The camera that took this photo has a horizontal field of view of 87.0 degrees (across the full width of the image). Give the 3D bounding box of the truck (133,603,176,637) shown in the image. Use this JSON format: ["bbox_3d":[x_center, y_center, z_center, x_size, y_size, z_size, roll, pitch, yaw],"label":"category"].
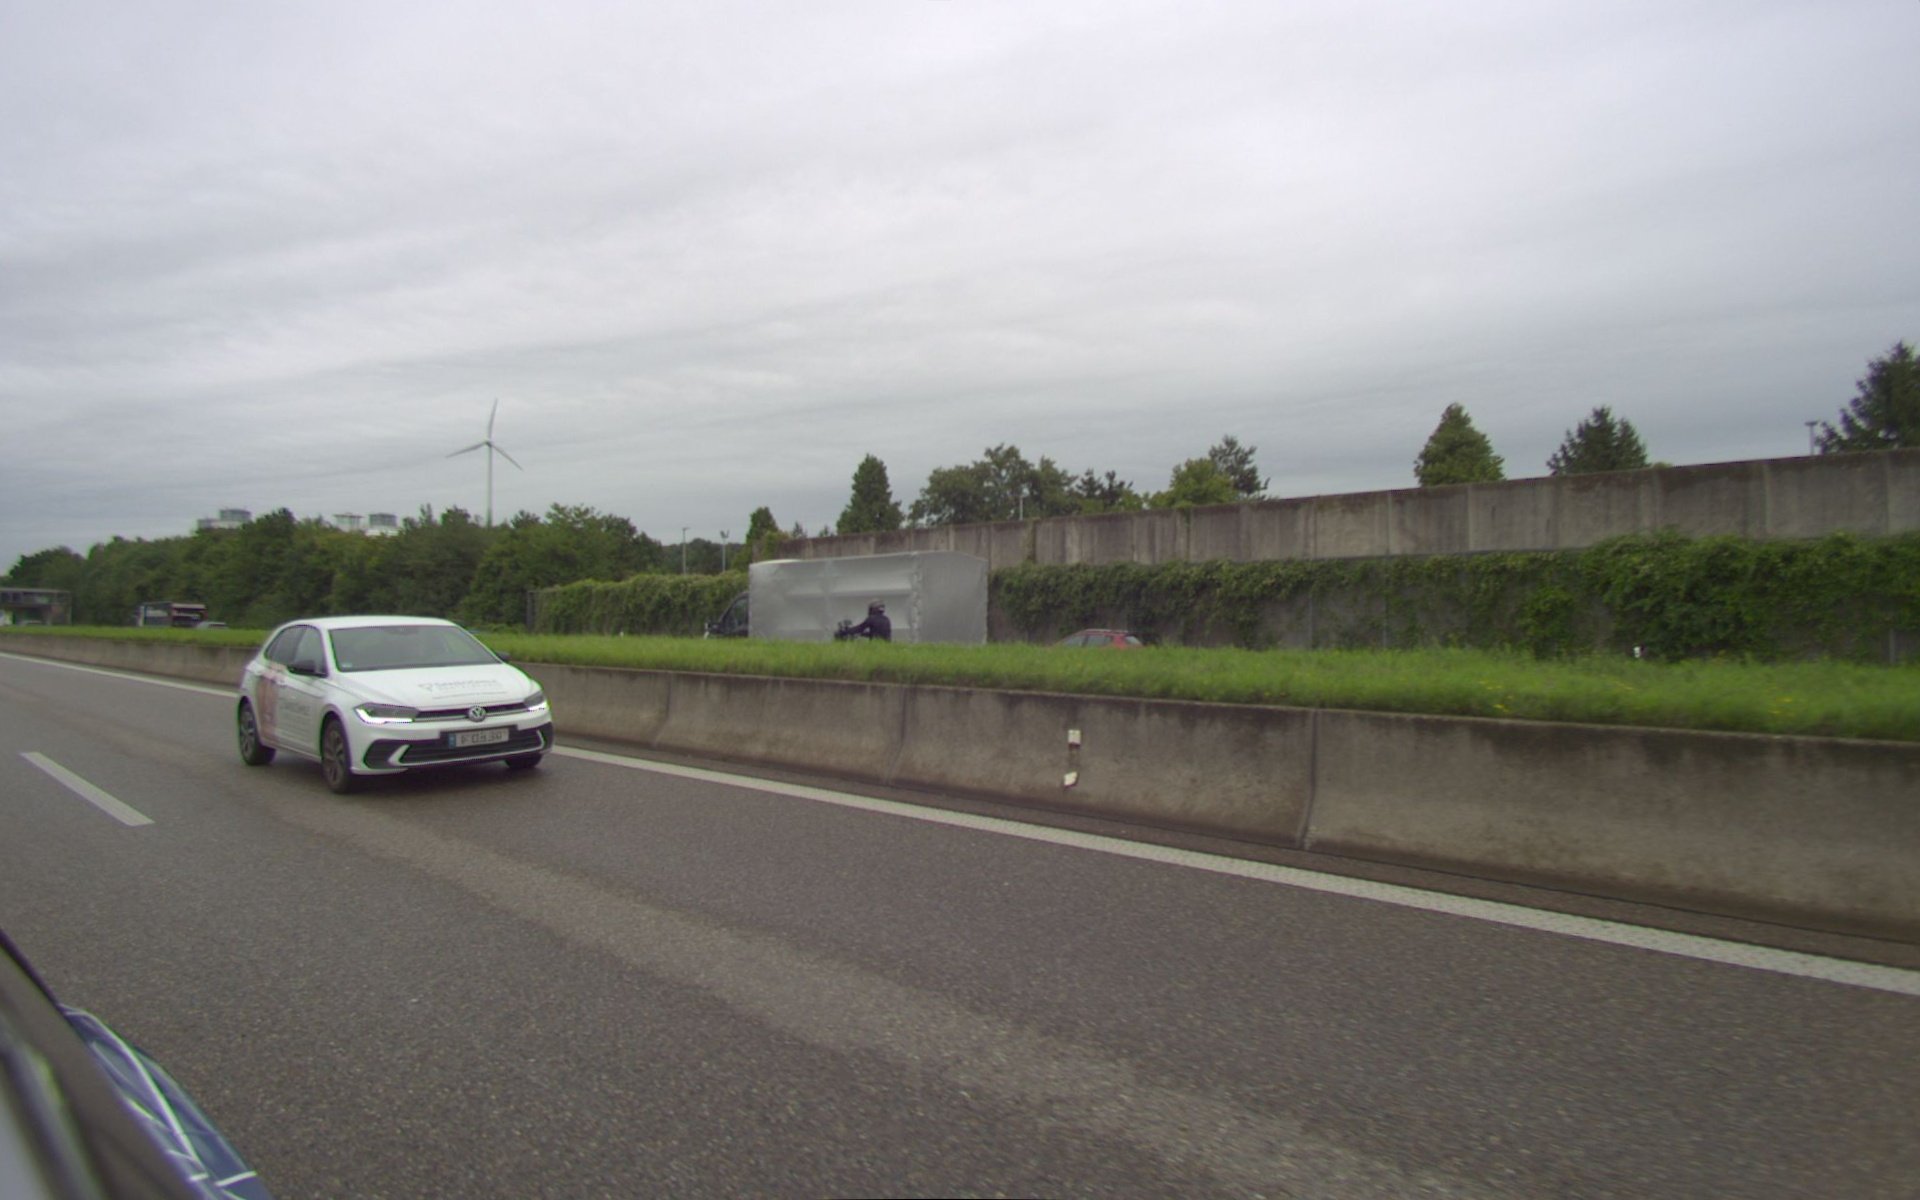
[{"bbox_3d":[-79.928,1.956,100.382,6.580,3.297,2.291,-1,0,42],"label":"truck"}]

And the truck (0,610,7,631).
[{"bbox_3d":[-154.724,3.342,161.486,11.355,3.245,2.853,-1,0,42],"label":"truck"}]

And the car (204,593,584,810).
[{"bbox_3d":[-5.645,0.813,9.809,4.661,1.630,1.735,-1,-2,41],"label":"car"}]

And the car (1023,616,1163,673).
[{"bbox_3d":[4.038,1.305,31.117,4.068,1.619,1.601,-1,0,42],"label":"car"}]

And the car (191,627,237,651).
[{"bbox_3d":[-54.354,2.795,73.721,4.290,1.645,1.765,-1,0,40],"label":"car"}]

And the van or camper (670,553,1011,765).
[{"bbox_3d":[-2.991,1.140,22.799,8.398,3.978,2.680,-1,0,41],"label":"van or camper"}]

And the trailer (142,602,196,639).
[{"bbox_3d":[-74.998,1.909,95.822,10.560,3.314,2.282,-1,0,42],"label":"trailer"}]

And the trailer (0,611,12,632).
[{"bbox_3d":[-147.545,3.261,155.059,7.870,3.100,2.748,-1,0,42],"label":"trailer"}]

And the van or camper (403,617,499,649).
[{"bbox_3d":[-31.294,1.969,62.004,8.431,1.814,2.169,-1,0,41],"label":"van or camper"}]

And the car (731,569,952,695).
[{"bbox_3d":[-2.224,0.531,18.355,3.998,2.029,1.749,-1,0,42],"label":"car"}]
